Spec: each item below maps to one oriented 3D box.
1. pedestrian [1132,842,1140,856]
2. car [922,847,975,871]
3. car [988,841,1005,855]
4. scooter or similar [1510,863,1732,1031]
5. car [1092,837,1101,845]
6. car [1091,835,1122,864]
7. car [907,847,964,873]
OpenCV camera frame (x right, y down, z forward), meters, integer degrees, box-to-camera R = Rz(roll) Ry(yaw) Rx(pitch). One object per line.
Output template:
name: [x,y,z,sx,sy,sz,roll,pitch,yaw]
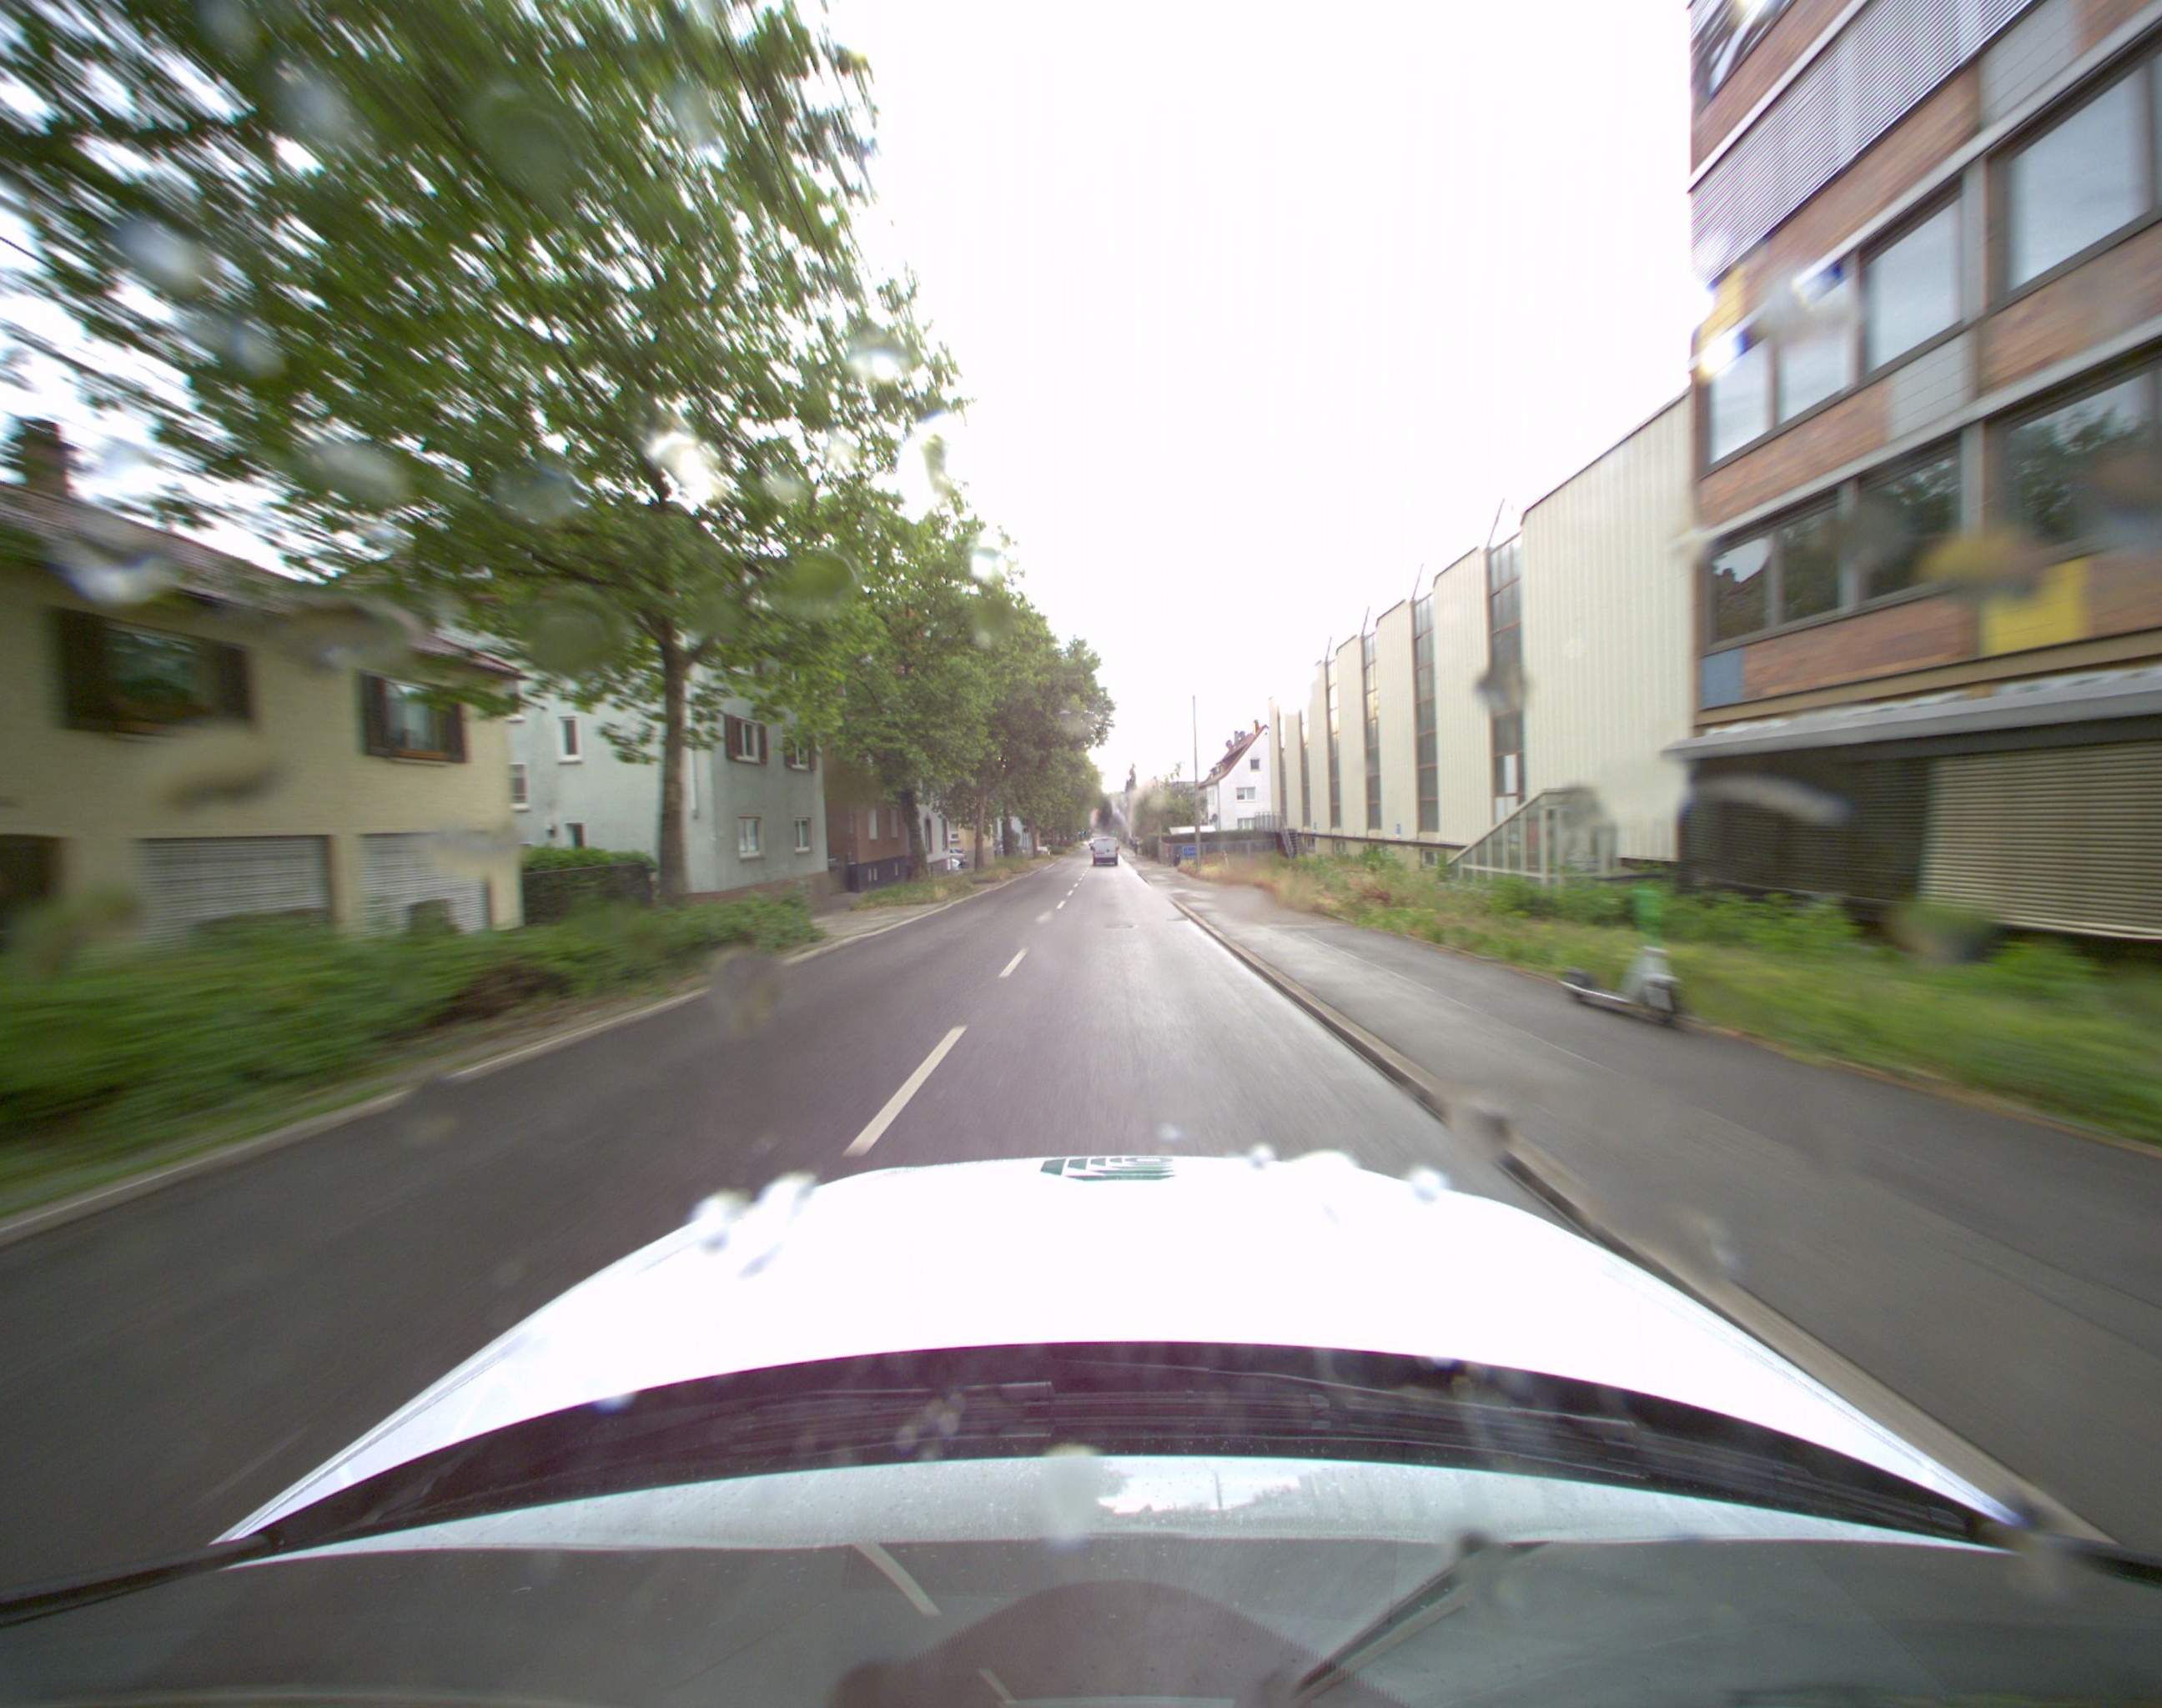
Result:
pedestrian: [6.386,-0.575,94.127,0.811,1.698,0.730,-2,0,6]
car: [-11.468,0.423,70.926,4.182,1.891,2.000,-2,0,0]
car: [-11.904,-0.869,114.953,1.868,1.894,4.002,-2,2,1]
scooter or similar: [4.321,0.674,6.688,0.603,1.162,1.698,-2,0,-2]
car: [3.459,-2.963,182.657,1.988,1.709,4.258,-2,0,-1]
car: [2.050,-0.410,67.395,2.339,2.160,4.778,-3,2,0]
car: [-11.667,0.438,65.454,4.182,1.891,2.000,-2,0,0]
